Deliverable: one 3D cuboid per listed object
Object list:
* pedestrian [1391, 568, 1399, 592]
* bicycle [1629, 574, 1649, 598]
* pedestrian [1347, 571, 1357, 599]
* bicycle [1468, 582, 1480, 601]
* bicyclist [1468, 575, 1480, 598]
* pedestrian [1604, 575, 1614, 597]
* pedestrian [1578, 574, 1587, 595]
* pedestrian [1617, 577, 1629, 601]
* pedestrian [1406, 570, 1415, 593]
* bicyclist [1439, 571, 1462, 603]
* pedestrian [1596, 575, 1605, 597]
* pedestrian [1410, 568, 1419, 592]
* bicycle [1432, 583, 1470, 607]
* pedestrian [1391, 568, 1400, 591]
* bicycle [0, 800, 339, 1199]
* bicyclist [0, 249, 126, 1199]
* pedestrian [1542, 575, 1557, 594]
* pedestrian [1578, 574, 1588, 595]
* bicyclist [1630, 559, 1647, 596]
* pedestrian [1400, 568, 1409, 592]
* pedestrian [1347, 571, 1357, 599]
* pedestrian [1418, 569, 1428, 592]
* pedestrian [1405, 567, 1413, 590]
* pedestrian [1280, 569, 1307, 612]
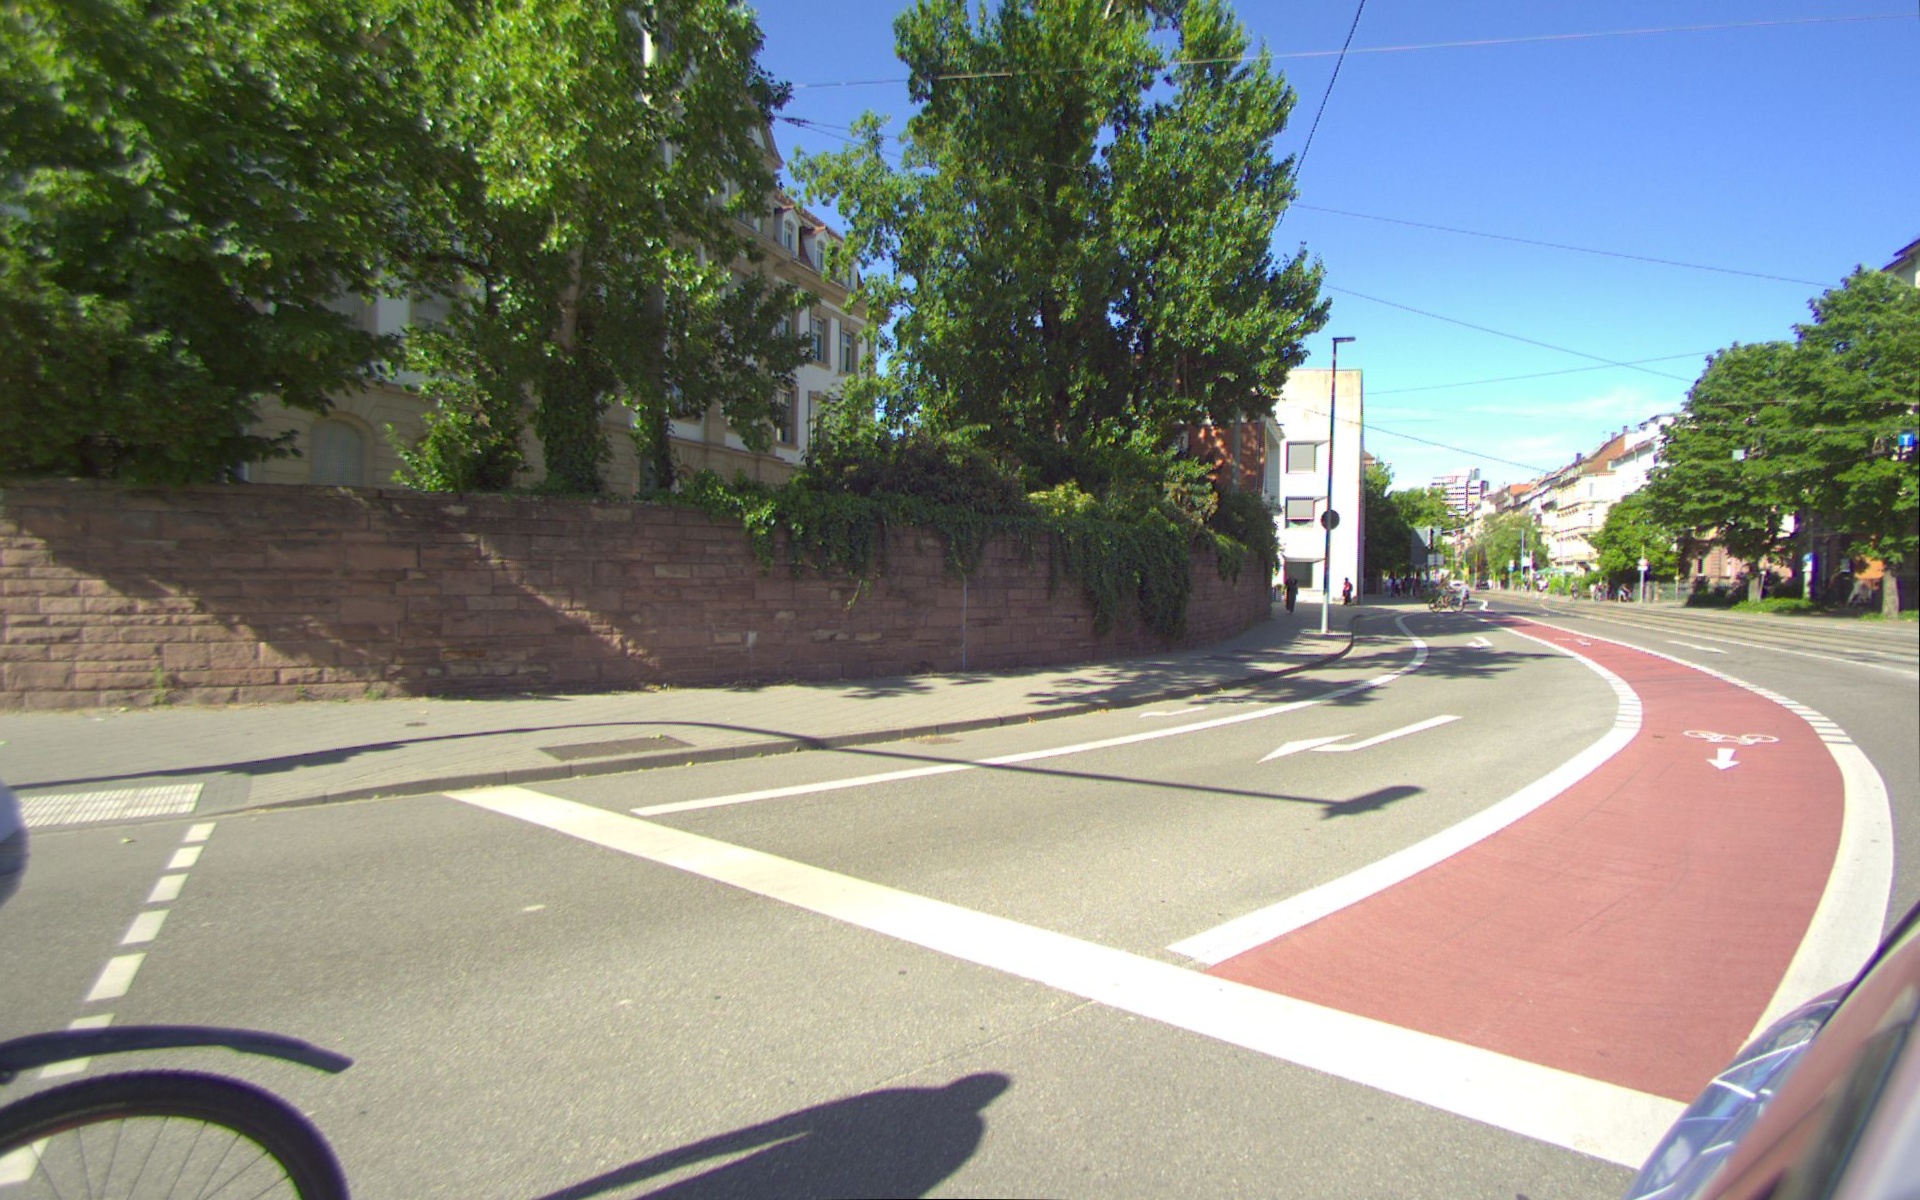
[{"bbox_3d":[34.106,-1.568,79.337,0.581,1.828,0.541,1,1,22],"label":"pedestrian"},{"bbox_3d":[56.716,-1.219,84.571,0.999,1.910,3.839,0,2,40],"label":"bicycle"},{"bbox_3d":[22.468,-0.860,57.973,0.514,1.586,0.530,1,1,23],"label":"pedestrian"},{"bbox_3d":[32.329,-0.533,63.659,0.659,1.166,1.657,0,2,27],"label":"bicycle"},{"bbox_3d":[32.315,-0.851,63.636,0.659,1.479,0.617,0,2,27],"label":"bicyclist"},{"bbox_3d":[57.199,-1.257,89.190,0.572,1.879,0.679,1,1,24],"label":"pedestrian"},{"bbox_3d":[58.010,-1.461,94.293,0.572,1.879,0.679,1,1,24],"label":"pedestrian"},{"bbox_3d":[52.828,-0.848,80.656,0.571,1.879,0.650,1,1,19],"label":"pedestrian"},{"bbox_3d":[35.690,-1.479,80.218,0.581,1.828,0.578,1,1,22],"label":"pedestrian"},{"bbox_3d":[25.187,-0.659,51.979,0.866,1.602,0.742,-1,1,13],"label":"bicyclist"},{"bbox_3d":[56.581,-1.256,89.426,0.572,1.879,0.679,1,1,24],"label":"pedestrian"},{"bbox_3d":[35.321,-1.541,78.733,0.581,1.828,0.516,1,1,22],"label":"pedestrian"},{"bbox_3d":[25.213,-0.270,51.983,1.574,1.166,0.742,0,2,13],"label":"bicycle"},{"bbox_3d":[34.700,-1.638,80.593,0.581,1.828,0.578,1,1,22],"label":"pedestrian"},{"bbox_3d":[-1.757,0.934,1.147,1.794,1.090,0.613,-1,1,-32],"label":"bicycle"},{"bbox_3d":[-1.737,0.487,1.246,0.994,1.798,0.752,0,1,-32],"label":"bicyclist"},{"bbox_3d":[53.275,-1.410,91.464,0.915,1.759,0.678,1,1,4],"label":"pedestrian"},{"bbox_3d":[58.054,-1.447,94.277,0.721,1.879,0.648,1,1,26],"label":"pedestrian"},{"bbox_3d":[56.591,-1.897,84.420,0.999,3.012,1.453,0,2,40],"label":"bicyclist"},{"bbox_3d":[34.739,-1.568,79.051,0.581,1.828,0.541,1,1,22],"label":"pedestrian"},{"bbox_3d":[22.245,-0.837,57.434,0.514,1.586,0.530,1,1,23],"label":"pedestrian"},{"bbox_3d":[35.991,-1.502,78.669,0.581,1.749,0.516,1,1,22],"label":"pedestrian"},{"bbox_3d":[36.293,-1.766,81.838,0.581,1.828,0.541,1,1,22],"label":"pedestrian"},{"bbox_3d":[13.805,-0.402,41.924,0.929,1.698,0.947,4,3,22],"label":"pedestrian"}]
